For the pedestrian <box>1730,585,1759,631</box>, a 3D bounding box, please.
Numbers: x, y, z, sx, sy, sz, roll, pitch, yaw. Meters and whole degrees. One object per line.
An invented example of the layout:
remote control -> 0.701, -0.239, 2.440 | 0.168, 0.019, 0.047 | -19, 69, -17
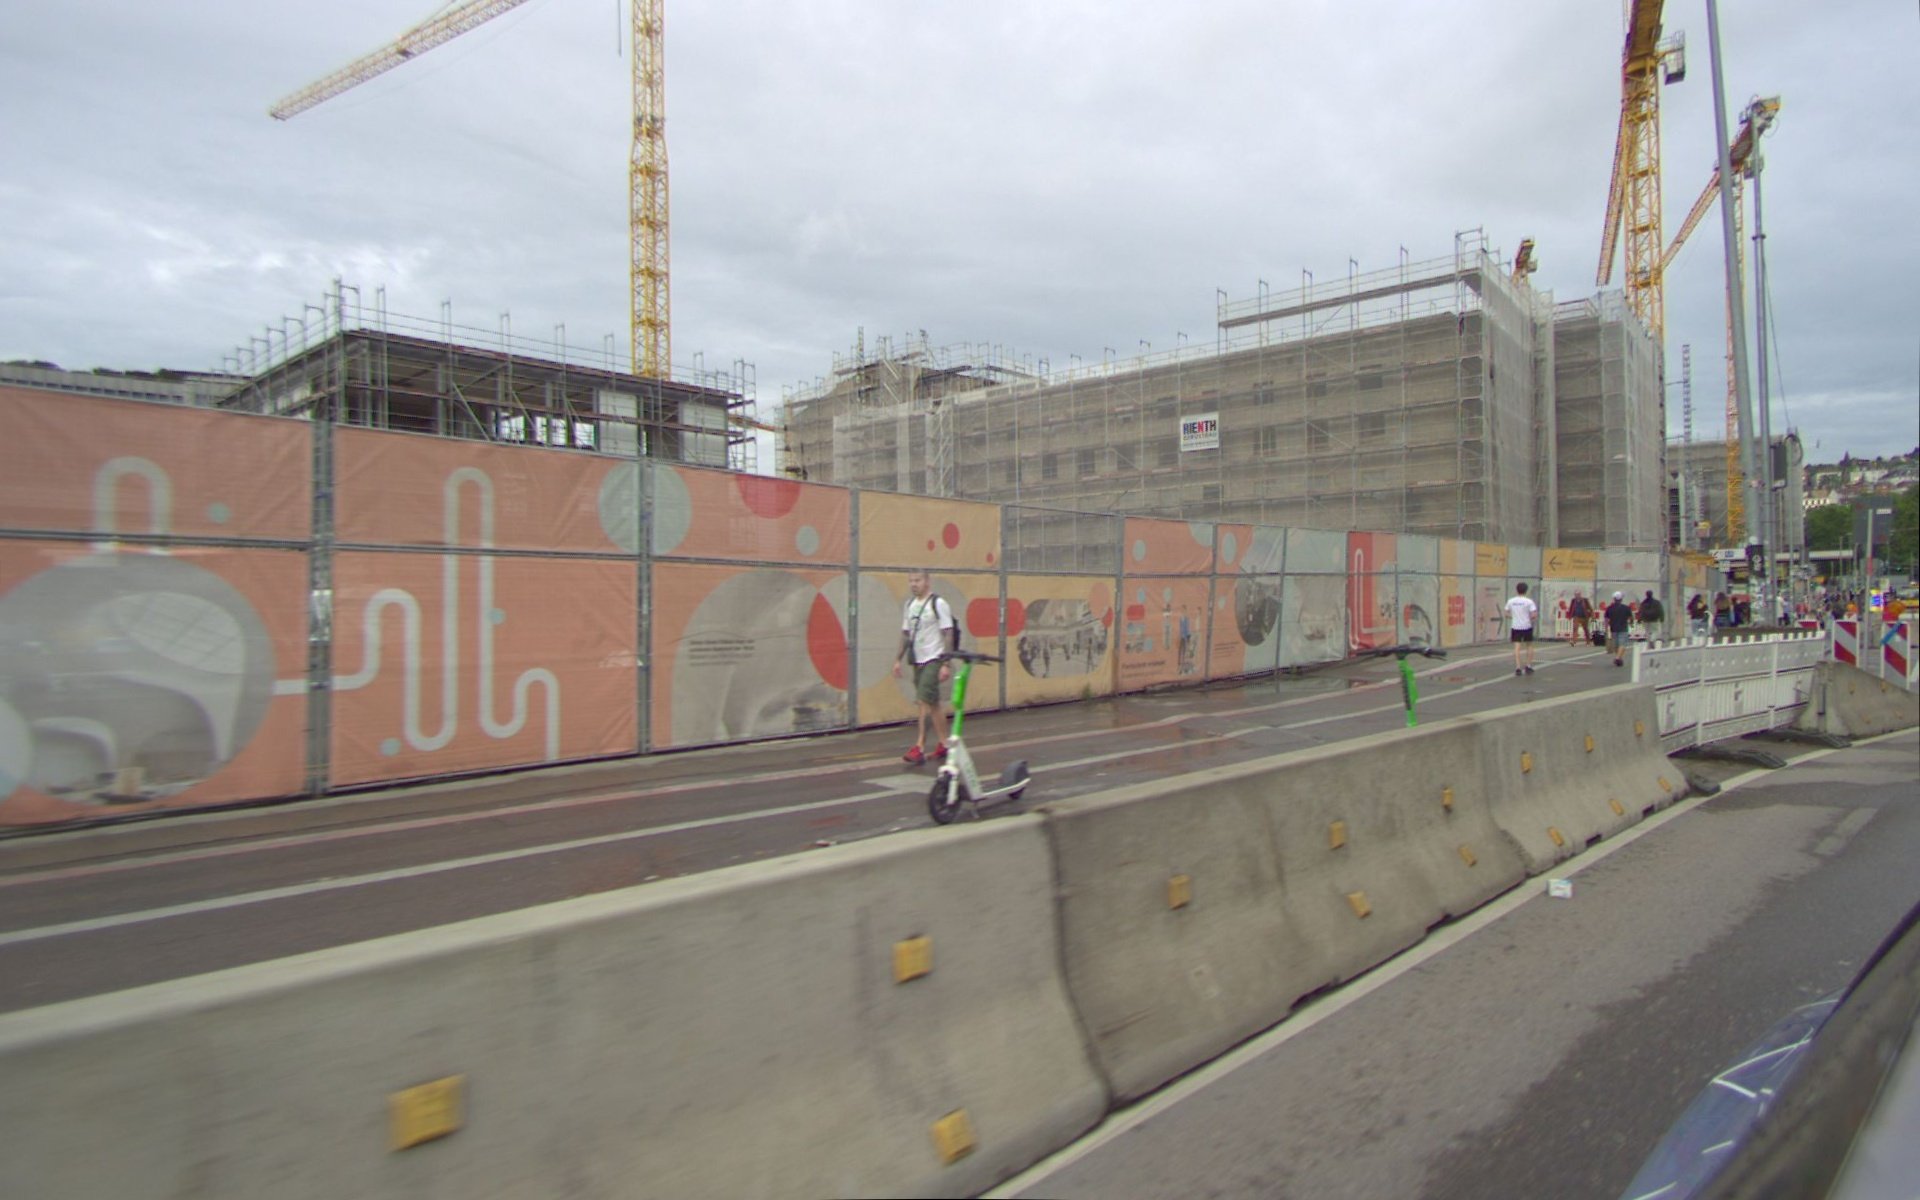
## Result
pedestrian -> 33.421, 0.347, 43.123 | 0.651, 1.919, 0.849 | 0, -1, -43

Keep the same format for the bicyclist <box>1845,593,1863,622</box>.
bicyclist -> 53.399, 0.456, 60.475 | 0.425, 1.726, 0.698 | 0, 0, -29

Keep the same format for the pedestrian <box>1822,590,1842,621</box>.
pedestrian -> 51.088, 0.309, 59.288 | 0.866, 1.778, 0.814 | 0, 0, -43

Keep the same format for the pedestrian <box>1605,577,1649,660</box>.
pedestrian -> 14.463, 0.384, 21.950 | 0.643, 1.762, 0.824 | -1, -1, 45

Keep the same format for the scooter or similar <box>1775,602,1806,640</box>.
scooter or similar -> 27.594, 0.693, 33.615 | 1.026, 1.214, 0.665 | 0, -1, -43

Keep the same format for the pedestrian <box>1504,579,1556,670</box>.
pedestrian -> 11.300, 0.467, 20.051 | 0.683, 1.762, 0.893 | -1, -1, 44

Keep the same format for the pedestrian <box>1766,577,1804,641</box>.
pedestrian -> 26.843, 0.283, 32.938 | 0.955, 2.042, 0.804 | 0, -1, -42

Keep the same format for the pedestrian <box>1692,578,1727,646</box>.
pedestrian -> 21.535, 0.343, 29.081 | 0.681, 1.913, 0.684 | 0, -1, -42

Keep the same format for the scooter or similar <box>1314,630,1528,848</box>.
scooter or similar -> 3.083, 0.839, 6.716 | 1.543, 1.230, 0.676 | 0, 0, -39

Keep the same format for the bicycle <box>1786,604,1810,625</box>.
bicycle -> 45.661, 0.767, 55.143 | 1.948, 1.126, 0.766 | 0, 0, -43

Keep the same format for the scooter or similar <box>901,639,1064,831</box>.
scooter or similar -> 0.195, 0.911, 7.334 | 0.466, 1.198, 1.396 | -1, 0, 36

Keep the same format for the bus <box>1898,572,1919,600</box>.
bus -> 114.025, -1.676, 120.503 | 2.987, 3.177, 7.654 | -1, 0, 40

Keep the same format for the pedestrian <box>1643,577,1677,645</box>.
pedestrian -> 20.027, 0.308, 28.937 | 0.683, 1.913, 0.682 | -1, -1, 44

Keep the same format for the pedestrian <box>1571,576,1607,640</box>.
pedestrian -> 19.149, 0.245, 30.804 | 0.643, 1.919, 0.768 | 0, -1, -43

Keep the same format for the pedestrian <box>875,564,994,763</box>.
pedestrian -> -0.254, 0.604, 10.213 | 0.973, 1.890, 0.704 | 0, -1, -43

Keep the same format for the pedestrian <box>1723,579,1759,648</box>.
pedestrian -> 22.037, 0.380, 28.552 | 0.681, 1.913, 0.684 | 0, -1, -42

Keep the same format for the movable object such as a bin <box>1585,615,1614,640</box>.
movable object such as a bin -> 19.519, 0.830, 30.895 | 0.597, 0.743, 0.765 | -1, 0, 44

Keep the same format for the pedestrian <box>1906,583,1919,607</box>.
pedestrian -> 82.769, -0.411, 87.926 | 0.731, 2.039, 0.638 | 0, 0, 37

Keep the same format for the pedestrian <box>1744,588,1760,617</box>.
pedestrian -> 54.763, 0.165, 69.949 | 0.615, 2.039, 0.642 | 0, 0, -23

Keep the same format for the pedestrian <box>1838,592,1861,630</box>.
pedestrian -> 49.268, 0.603, 56.067 | 0.850, 2.037, 0.788 | 0, 0, -38

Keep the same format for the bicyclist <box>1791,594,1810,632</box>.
bicyclist -> 45.645, 0.700, 54.956 | 0.589, 2.039, 0.727 | 0, -1, -43

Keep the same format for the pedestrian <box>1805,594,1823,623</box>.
pedestrian -> 54.992, 0.554, 65.168 | 0.740, 1.747, 0.704 | 7, 5, 41

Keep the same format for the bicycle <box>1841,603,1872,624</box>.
bicycle -> 53.742, 0.794, 60.646 | 1.952, 1.147, 0.757 | -1, 2, -29
